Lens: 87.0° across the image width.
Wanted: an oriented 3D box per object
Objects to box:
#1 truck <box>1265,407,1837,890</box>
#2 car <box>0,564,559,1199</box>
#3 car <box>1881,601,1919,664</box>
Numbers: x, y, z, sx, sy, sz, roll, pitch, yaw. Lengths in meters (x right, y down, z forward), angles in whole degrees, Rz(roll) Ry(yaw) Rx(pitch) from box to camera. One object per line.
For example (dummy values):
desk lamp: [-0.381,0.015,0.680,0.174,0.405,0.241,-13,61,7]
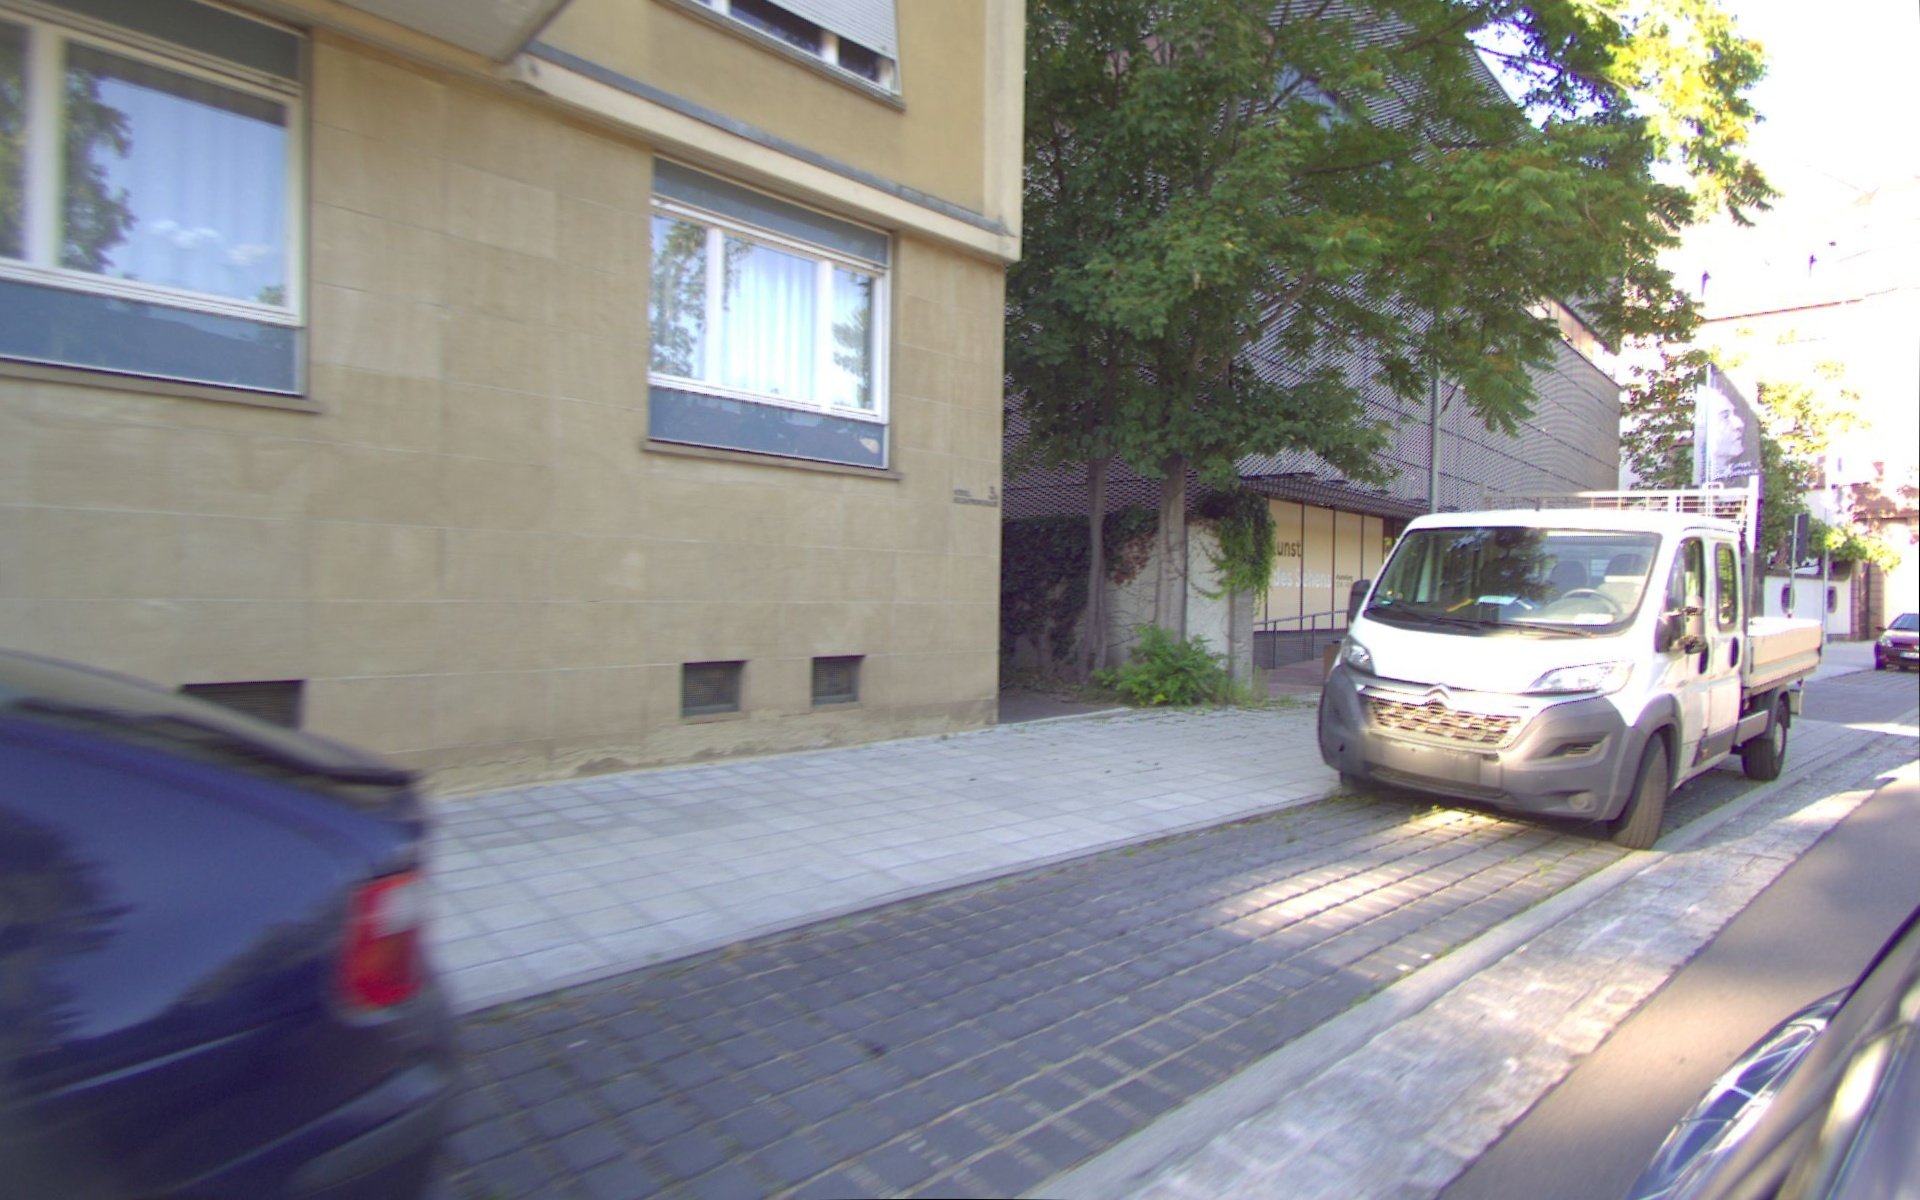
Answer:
truck: [5.361,0.219,8.488,6.758,2.596,2.132,0,1,-42]
car: [-2.759,0.688,1.102,3.969,1.437,1.705,0,4,-44]
car: [22.849,0.747,23.490,3.483,1.374,1.611,0,1,-38]
